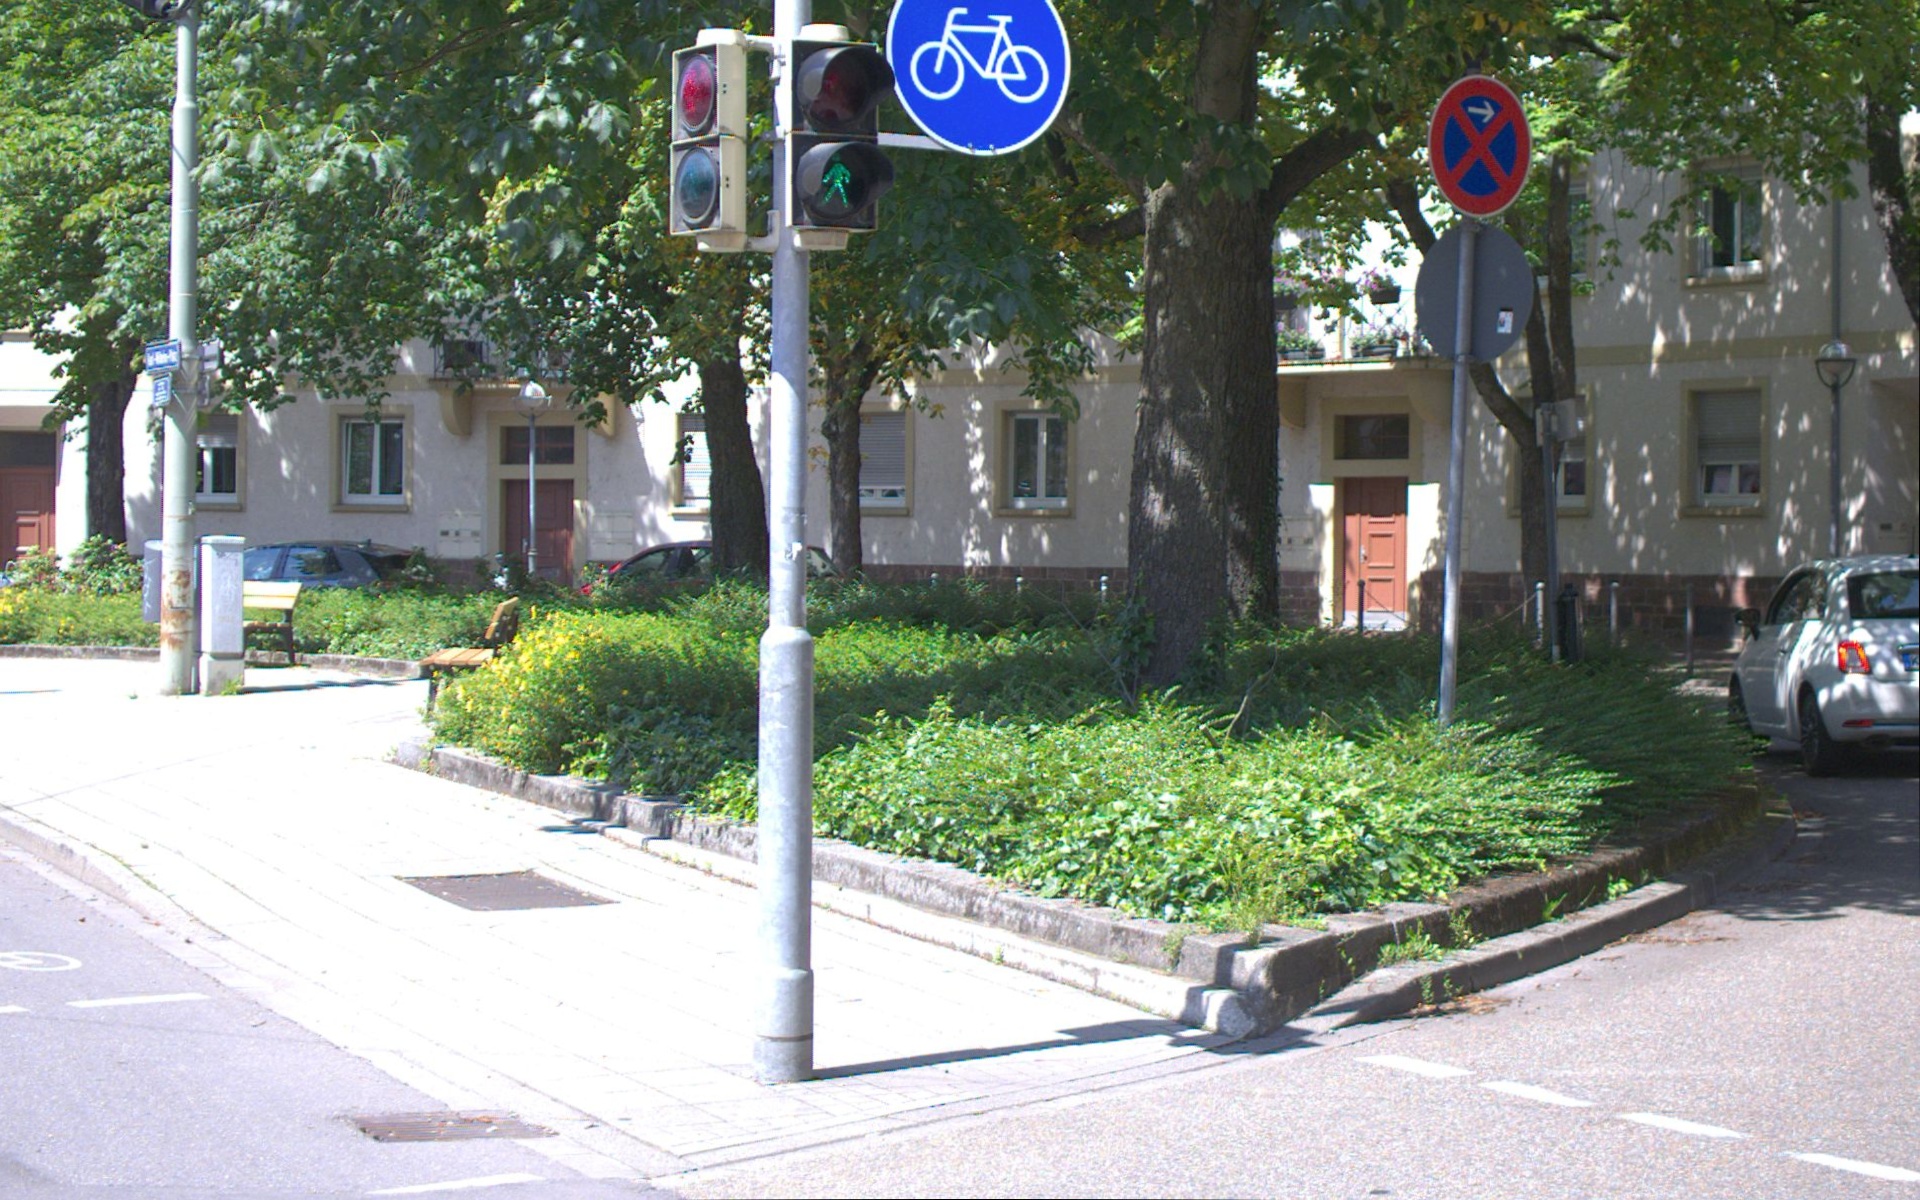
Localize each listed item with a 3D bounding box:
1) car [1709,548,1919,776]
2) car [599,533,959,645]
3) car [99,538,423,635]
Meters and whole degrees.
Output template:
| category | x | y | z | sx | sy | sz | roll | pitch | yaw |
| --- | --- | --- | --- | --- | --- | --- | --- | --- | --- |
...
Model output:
| category | x | y | z | sx | sy | sz | roll | pitch | yaw |
| --- | --- | --- | --- | --- | --- | --- | --- | --- | --- |
| car | 6.559 | 0.389 | 24.495 | 1.685 | 1.479 | 3.684 | 1 | 1 | 1 |
| car | -2.320 | -0.167 | 43.613 | 4.333 | 1.324 | 1.789 | 1 | 1 | 33 |
| car | -9.472 | -0.197 | 46.656 | 3.989 | 1.239 | 1.623 | 1 | 1 | 11 |
